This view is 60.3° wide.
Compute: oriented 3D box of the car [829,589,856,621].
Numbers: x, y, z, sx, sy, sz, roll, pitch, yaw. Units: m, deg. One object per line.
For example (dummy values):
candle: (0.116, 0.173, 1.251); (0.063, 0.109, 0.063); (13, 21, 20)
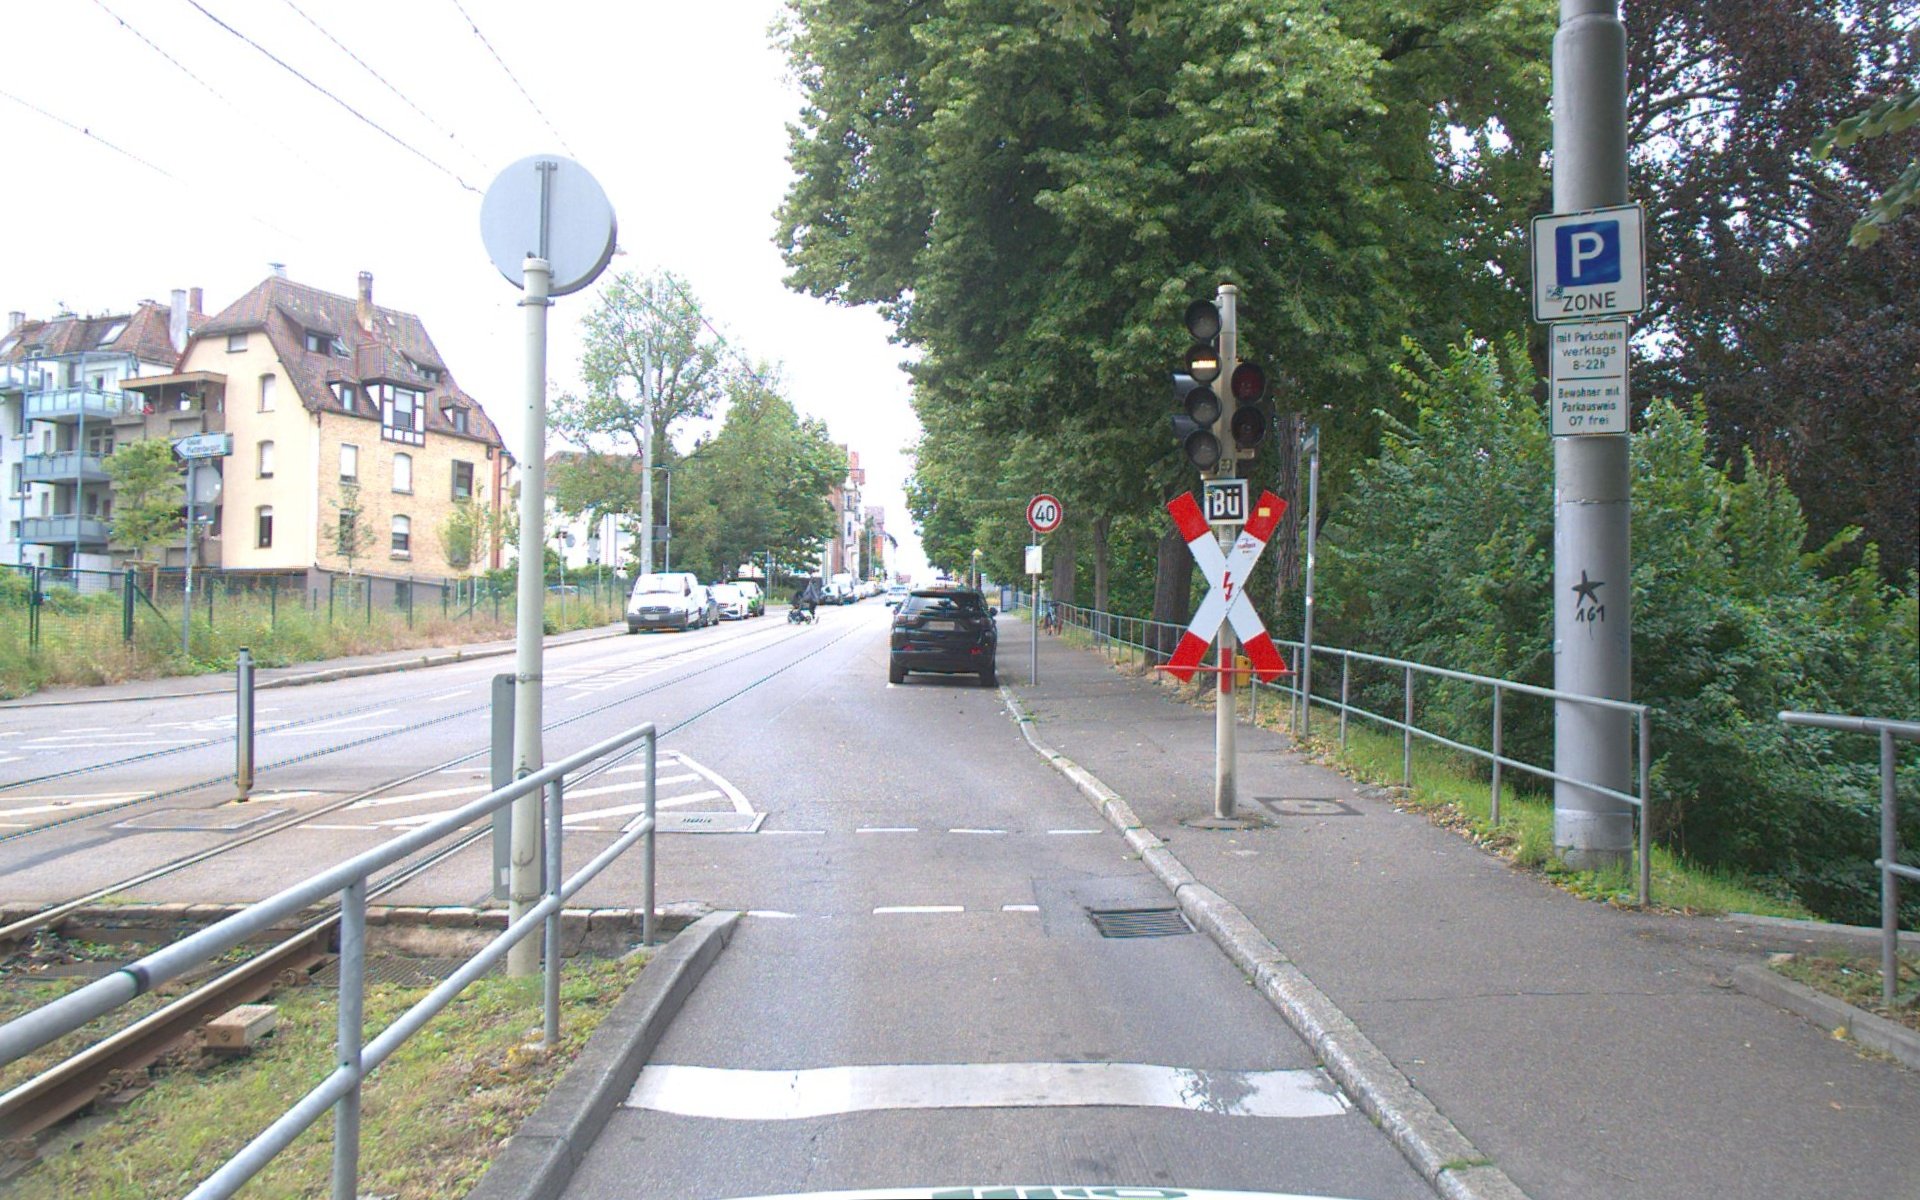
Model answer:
car: (-10.564, 0.448, 149.180); (2.186, 2.813, 5.796); (1, -1, -3)

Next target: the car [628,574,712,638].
car: (-9.477, 0.220, 54.391); (1.995, 1.914, 4.883); (-2, -1, -2)

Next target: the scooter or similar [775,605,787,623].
scooter or similar: (-14.013, 1.116, 129.497); (0.676, 1.362, 1.639); (1, -1, 1)

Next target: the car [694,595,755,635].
car: (-9.700, 0.631, 68.438); (1.846, 1.552, 4.662); (-1, 0, -1)

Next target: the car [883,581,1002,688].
car: (-0.245, 0.555, 28.611); (1.865, 1.643, 4.600); (1, 0, 1)

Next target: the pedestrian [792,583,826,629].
pedestrian: (-5.461, 0.224, 59.841); (0.898, 1.657, 0.804); (0, -1, 37)

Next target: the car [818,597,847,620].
car: (-10.364, 0.729, 134.687); (1.952, 1.840, 4.000); (1, -1, 1)

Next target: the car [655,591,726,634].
car: (-9.717, 0.418, 60.010); (1.857, 1.458, 4.510); (-1, 0, -1)

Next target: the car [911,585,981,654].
car: (-0.415, 0.490, 44.339); (1.692, 1.659, 4.086); (4, 0, -2)

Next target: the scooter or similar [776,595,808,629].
scooter or similar: (-6.129, 0.448, 60.336); (0.822, 1.217, 0.804); (0, -1, 36)

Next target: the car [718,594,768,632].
car: (-9.688, 0.565, 73.960); (1.688, 1.607, 4.180); (-1, 0, 0)

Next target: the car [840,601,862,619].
car: (-10.501, 0.957, 159.489); (1.954, 1.628, 4.309); (1, -1, -3)

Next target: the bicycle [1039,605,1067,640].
bicycle: (2.682, 0.653, 47.829); (0.419, 0.993, 1.790); (1, -1, -10)

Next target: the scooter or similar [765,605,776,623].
scooter or similar: (-14.848, 1.102, 129.493); (0.676, 1.362, 1.639); (1, -1, 1)

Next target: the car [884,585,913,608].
car: (-4.331, -0.233, 117.668); (1.953, 1.525, 4.311); (1, -1, -1)
